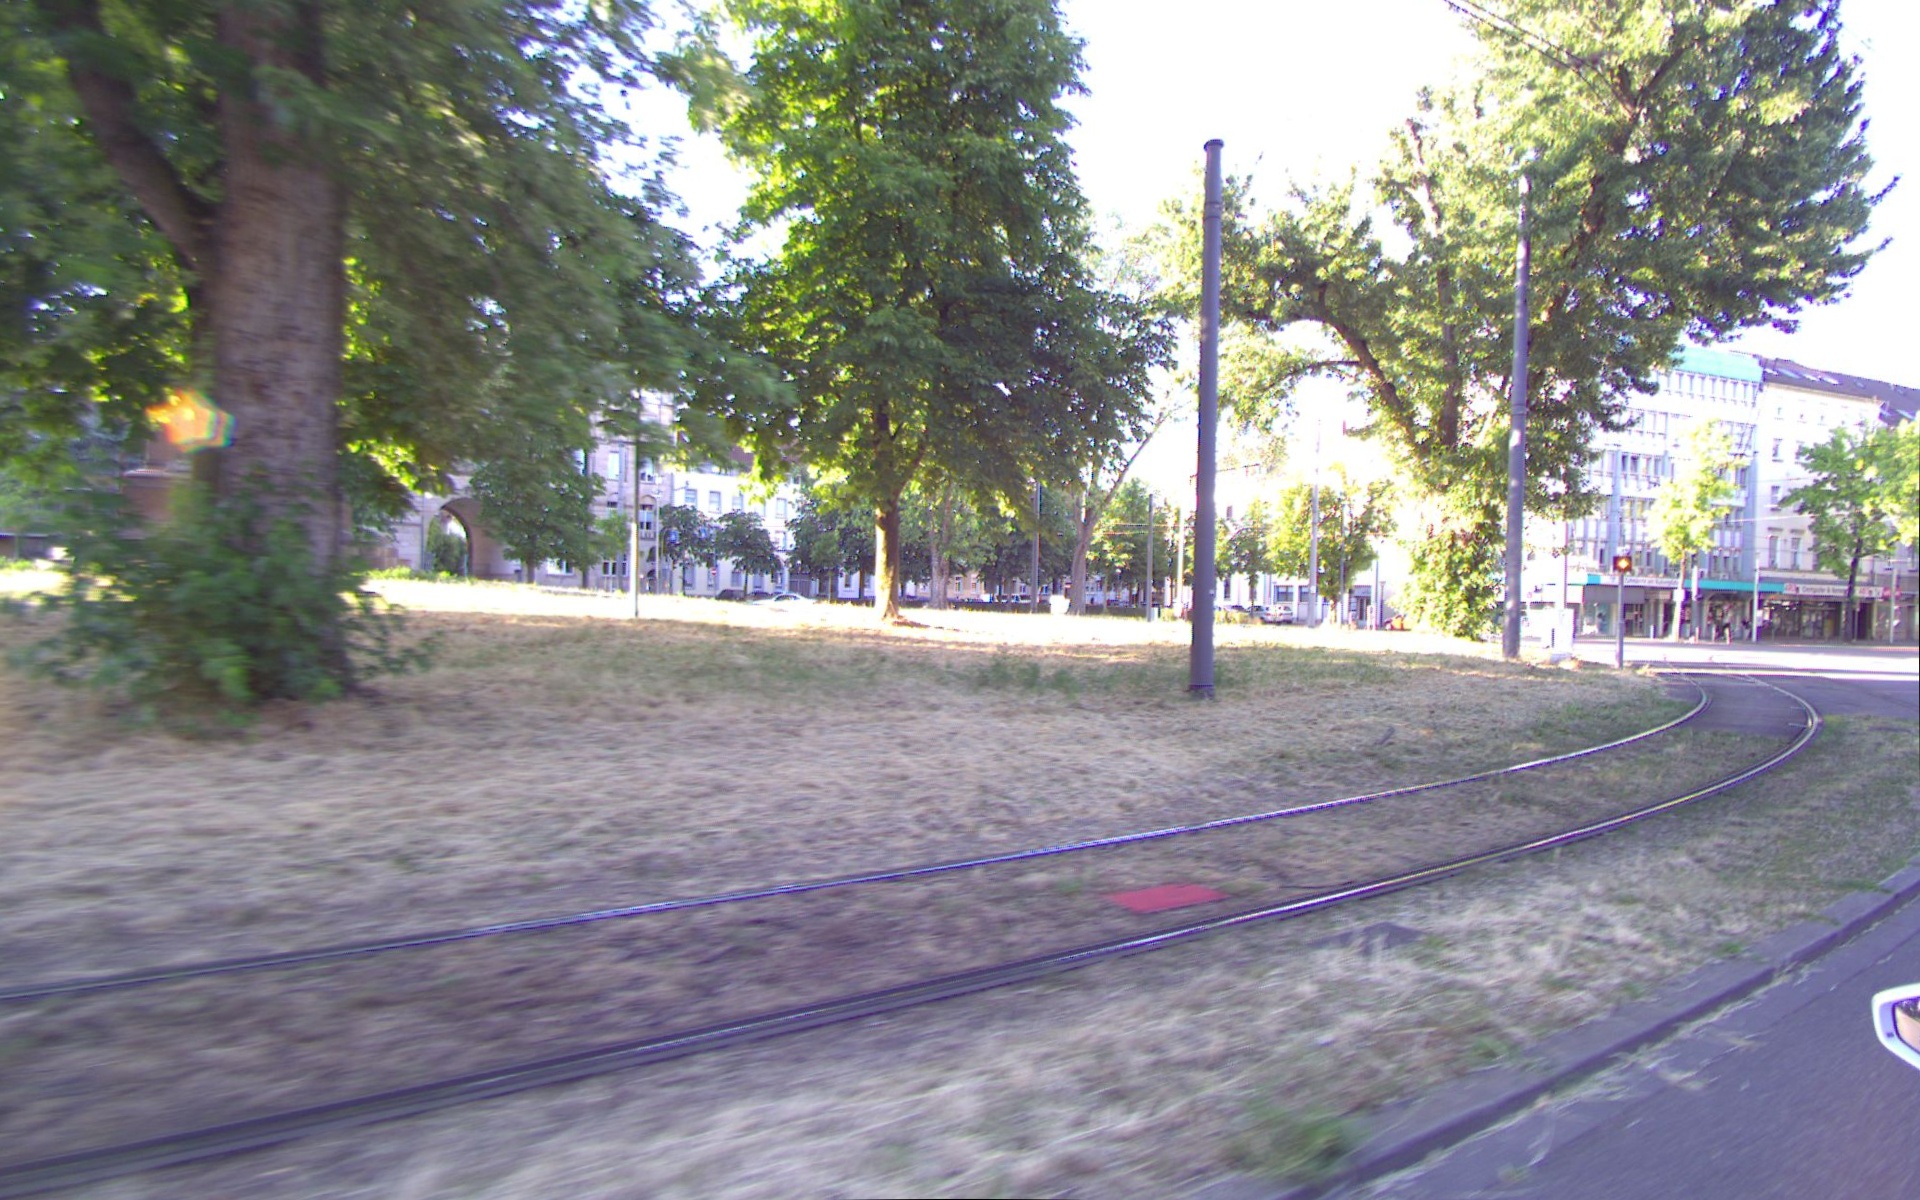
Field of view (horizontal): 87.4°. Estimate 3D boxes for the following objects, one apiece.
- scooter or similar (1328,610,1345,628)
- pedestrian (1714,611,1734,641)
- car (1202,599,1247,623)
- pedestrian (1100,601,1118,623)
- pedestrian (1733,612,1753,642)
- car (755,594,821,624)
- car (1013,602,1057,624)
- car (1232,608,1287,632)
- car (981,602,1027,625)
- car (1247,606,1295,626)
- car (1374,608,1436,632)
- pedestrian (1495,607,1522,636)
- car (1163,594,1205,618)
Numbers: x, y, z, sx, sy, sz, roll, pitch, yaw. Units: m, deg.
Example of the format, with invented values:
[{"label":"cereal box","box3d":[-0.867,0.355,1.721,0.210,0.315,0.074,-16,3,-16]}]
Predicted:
[{"label":"scooter or similar","box3d":[31.407,1.560,83.867,0.740,1.417,1.928,2,1,4]},{"label":"pedestrian","box3d":[53.261,1.785,70.054,0.723,2.040,0.795,2,1,-20]},{"label":"car","box3d":[24.082,0.952,91.601,1.970,2.040,3.981,2,0,-20]},{"label":"pedestrian","box3d":[14.203,1.164,95.750,1.102,2.040,1.458,2,1,-20]},{"label":"pedestrian","box3d":[53.611,1.846,68.771,0.723,2.040,0.795,2,1,-20]},{"label":"car","box3d":[-11.373,0.575,66.571,3.920,1.818,2.000,2,1,1]},{"label":"car","box3d":[7.153,1.251,95.684,3.968,2.040,1.976,2,1,-41]},{"label":"car","box3d":[23.756,1.581,79.716,1.974,1.706,3.973,2,0,-26]},{"label":"car","box3d":[4.090,1.255,92.953,3.968,2.040,1.976,2,1,-41]},{"label":"car","box3d":[26.443,1.348,85.471,1.968,1.550,3.984,2,0,-18]},{"label":"car","box3d":[31.850,1.402,71.999,1.993,1.504,3.988,2,0,-15]},{"label":"pedestrian","box3d":[34.244,1.341,62.701,1.140,1.725,0.907,2,0,-4]},{"label":"car","box3d":[19.939,0.499,89.675,1.967,2.040,3.986,2,0,-16]}]
